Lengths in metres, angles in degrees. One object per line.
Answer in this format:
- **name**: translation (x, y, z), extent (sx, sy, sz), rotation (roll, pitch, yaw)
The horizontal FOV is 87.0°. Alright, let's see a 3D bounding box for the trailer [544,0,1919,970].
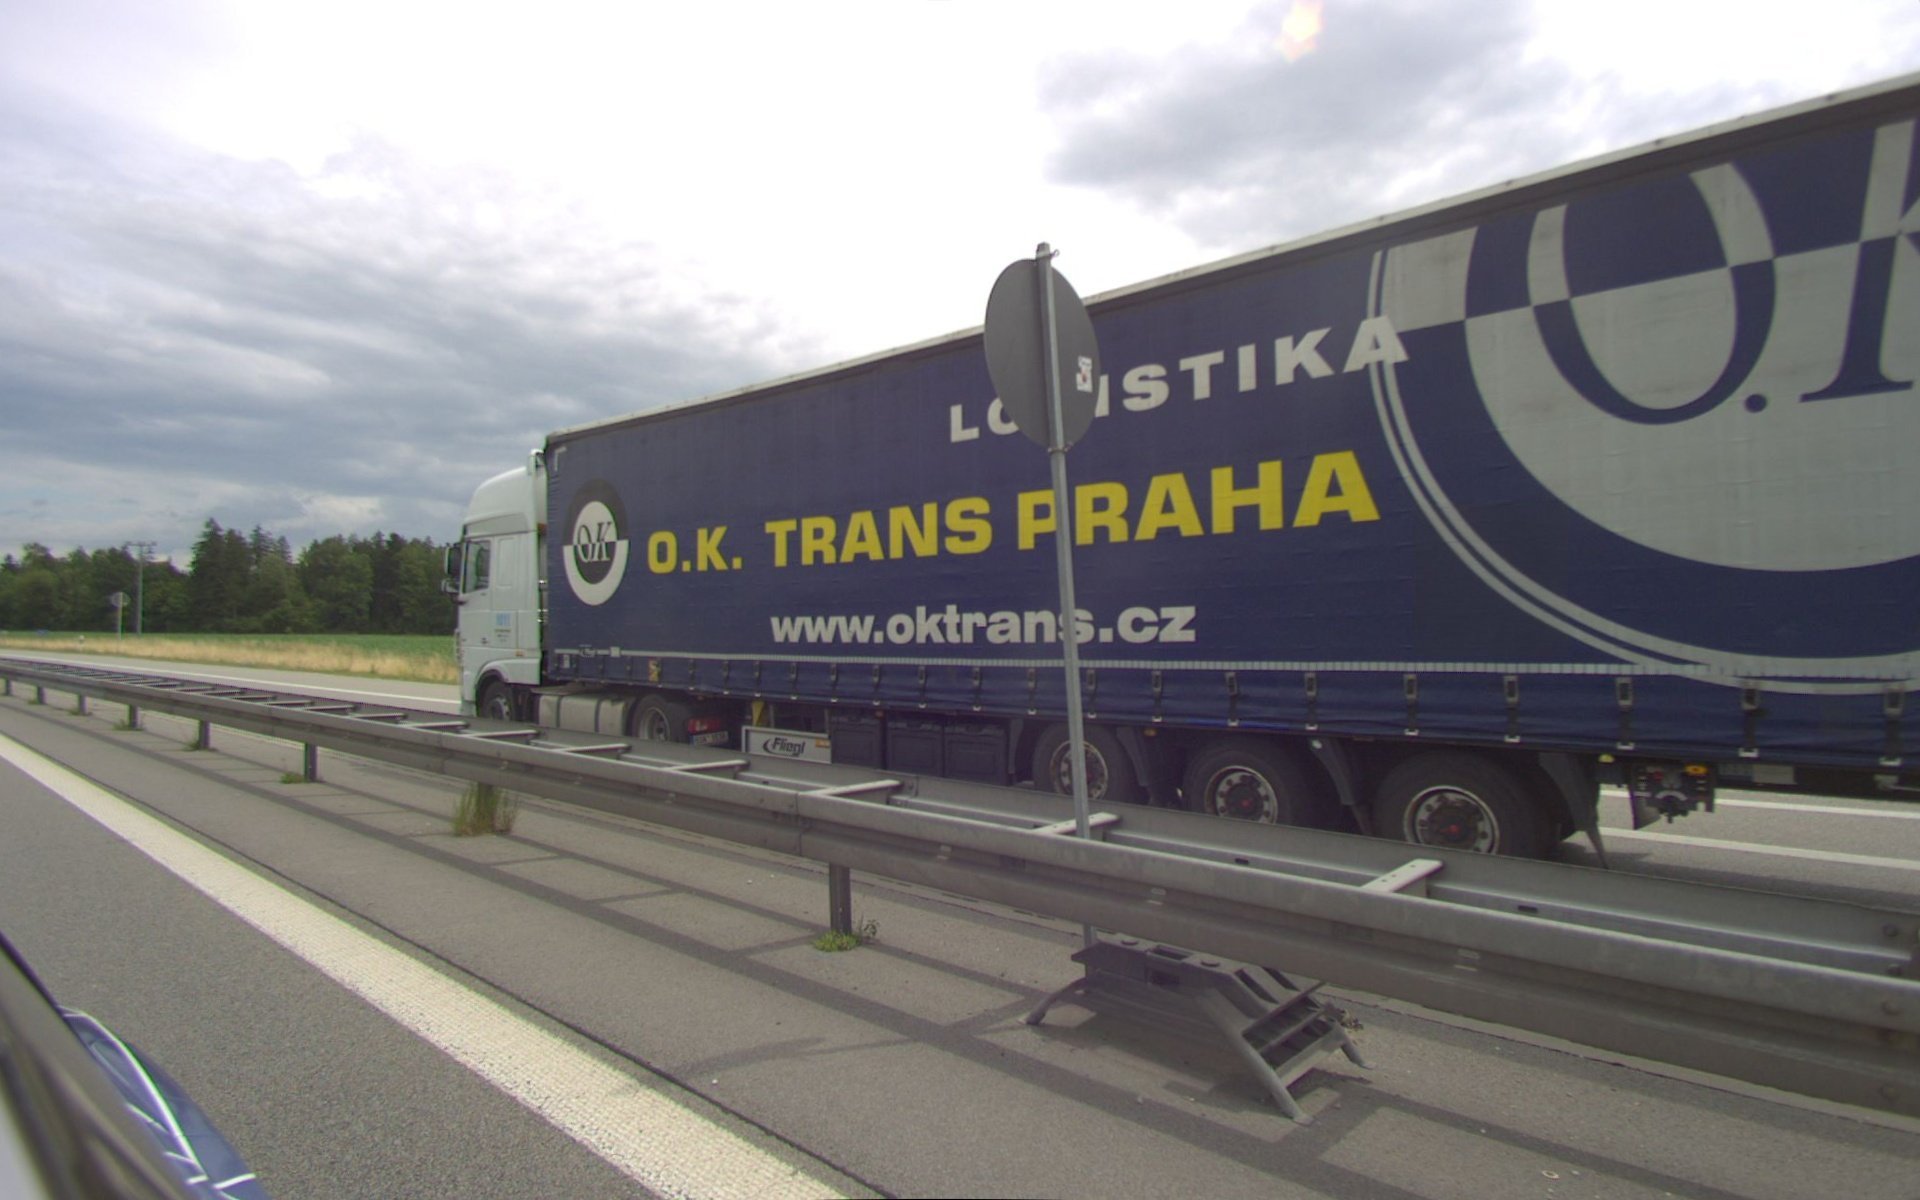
- **trailer**: translation (0.953, -0.469, 8.942), extent (13.556, 4.204, 2.770), rotation (-1, 0, 41)

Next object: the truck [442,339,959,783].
- **truck**: translation (-3.657, -0.344, 12.931), extent (7.225, 4.173, 2.770), rotation (-1, 0, 41)
